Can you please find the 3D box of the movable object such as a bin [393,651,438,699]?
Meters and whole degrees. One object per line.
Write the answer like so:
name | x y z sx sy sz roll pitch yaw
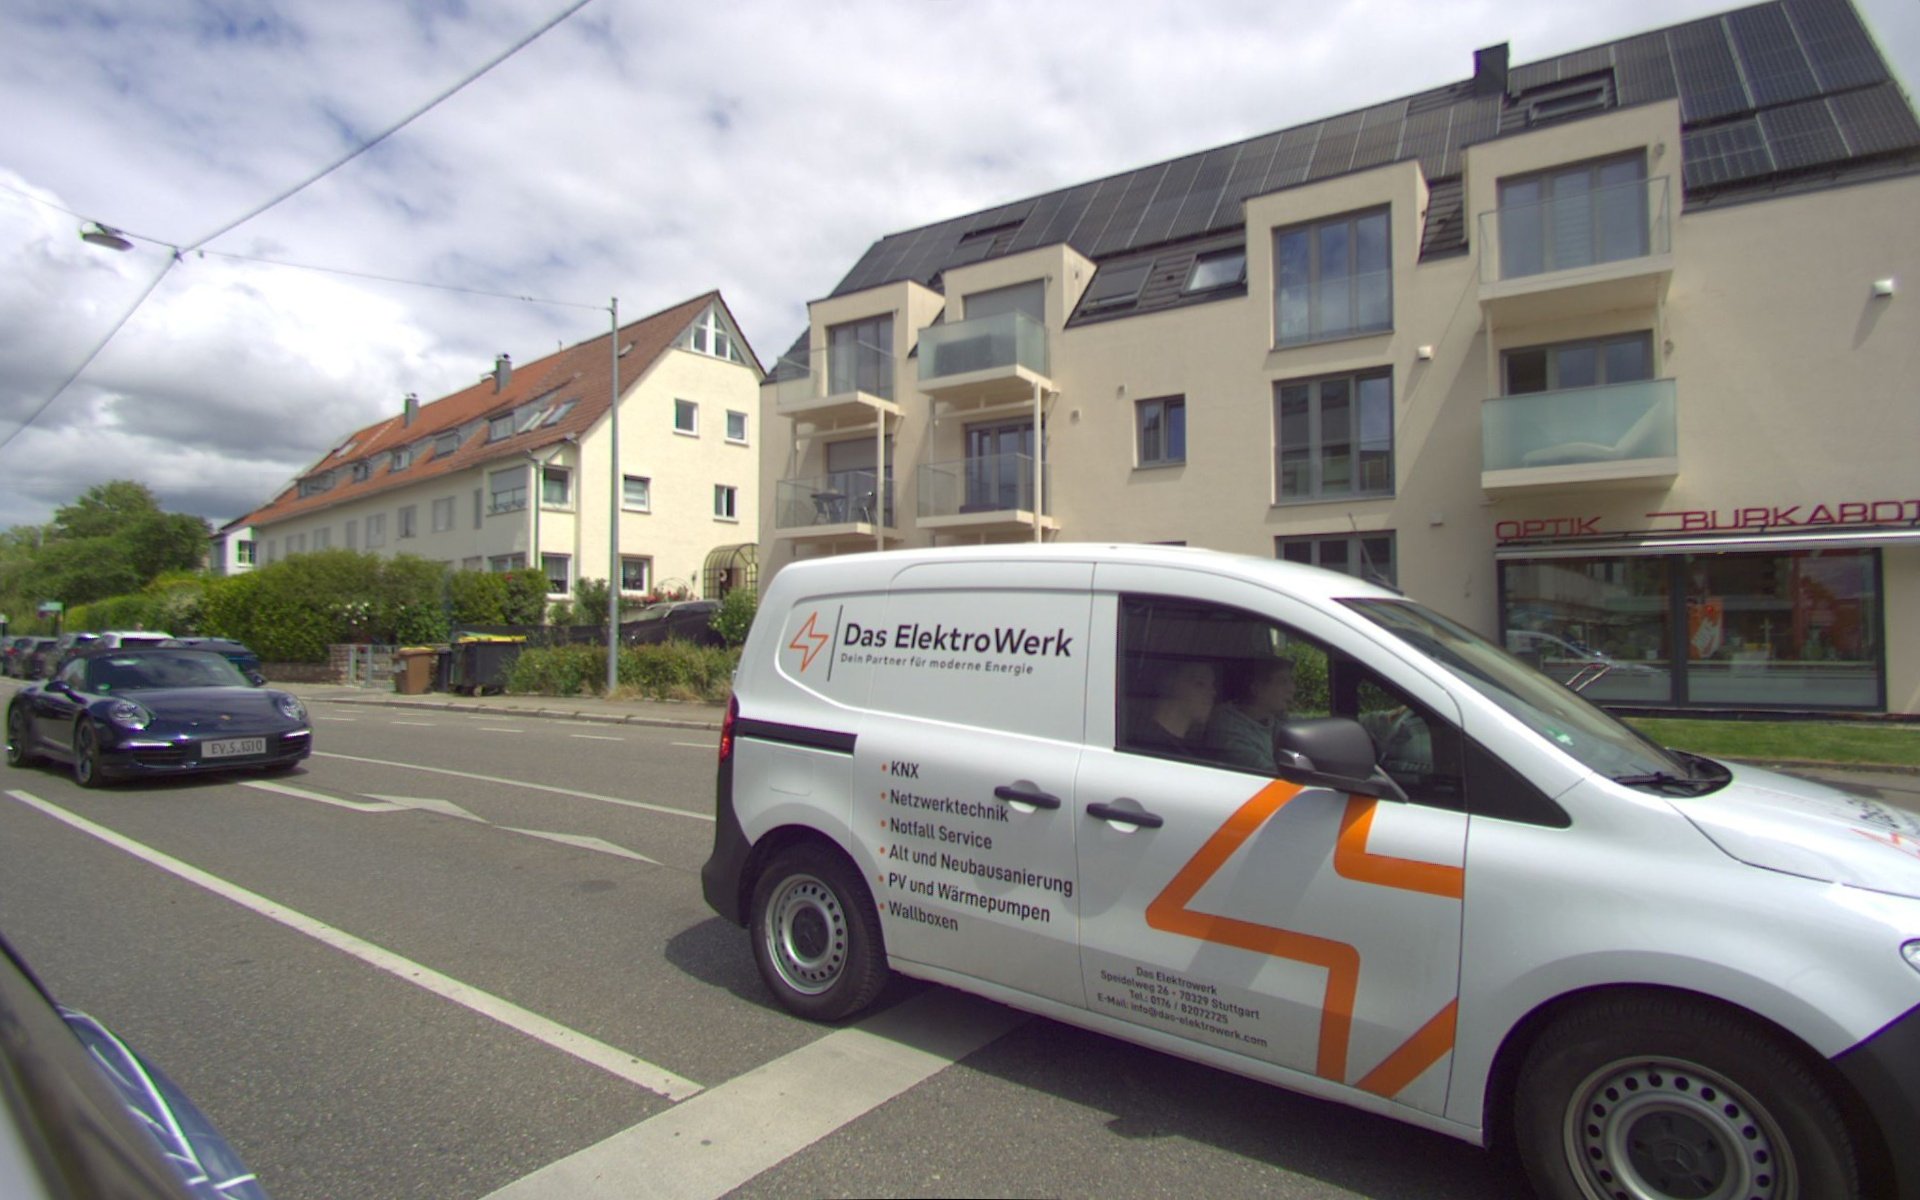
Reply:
movable object such as a bin | -12.709 1.746 23.626 0.693 1.073 0.753 -2 -3 45

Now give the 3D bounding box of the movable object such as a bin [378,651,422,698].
movable object such as a bin | -13.345 1.764 24.126 0.693 1.073 0.753 -2 -3 45

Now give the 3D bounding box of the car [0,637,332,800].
car | -8.467 1.091 10.636 4.036 1.374 1.794 -2 -2 36

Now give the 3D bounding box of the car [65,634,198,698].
car | -23.351 1.796 28.484 4.447 1.645 1.974 -2 -2 38

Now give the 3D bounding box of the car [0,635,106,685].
car | -31.775 2.082 35.424 4.230 1.645 1.974 -2 -5 38

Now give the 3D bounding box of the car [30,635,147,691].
car | -27.393 1.920 31.775 4.230 1.645 1.974 -2 -2 38

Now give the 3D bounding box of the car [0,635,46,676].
car | -40.010 2.283 42.305 4.230 1.645 1.974 -1 -2 38

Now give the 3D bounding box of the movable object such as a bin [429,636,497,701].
movable object such as a bin | -11.550 1.568 23.527 0.979 1.457 1.079 -2 -2 38

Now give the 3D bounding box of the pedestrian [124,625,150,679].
pedestrian | -27.824 1.747 34.214 0.510 1.830 0.527 -2 -2 33

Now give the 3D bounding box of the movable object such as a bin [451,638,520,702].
movable object such as a bin | -10.642 1.553 22.728 0.979 1.373 1.079 -2 -2 38

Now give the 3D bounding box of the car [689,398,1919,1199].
car | 1.189 0.575 3.541 4.410 1.825 1.799 -2 -2 36

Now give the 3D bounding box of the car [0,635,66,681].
car | -36.209 2.188 38.947 4.230 1.645 1.974 -2 -2 38

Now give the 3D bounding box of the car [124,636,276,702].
car | -19.251 1.680 25.573 4.443 1.513 1.798 -2 -2 35

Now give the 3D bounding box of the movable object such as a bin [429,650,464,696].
movable object such as a bin | -12.238 1.738 24.128 0.516 1.073 0.656 0 -2 -1

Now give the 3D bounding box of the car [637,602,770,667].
car | -8.526 1.132 33.851 1.997 2.029 3.949 -2 -2 38
